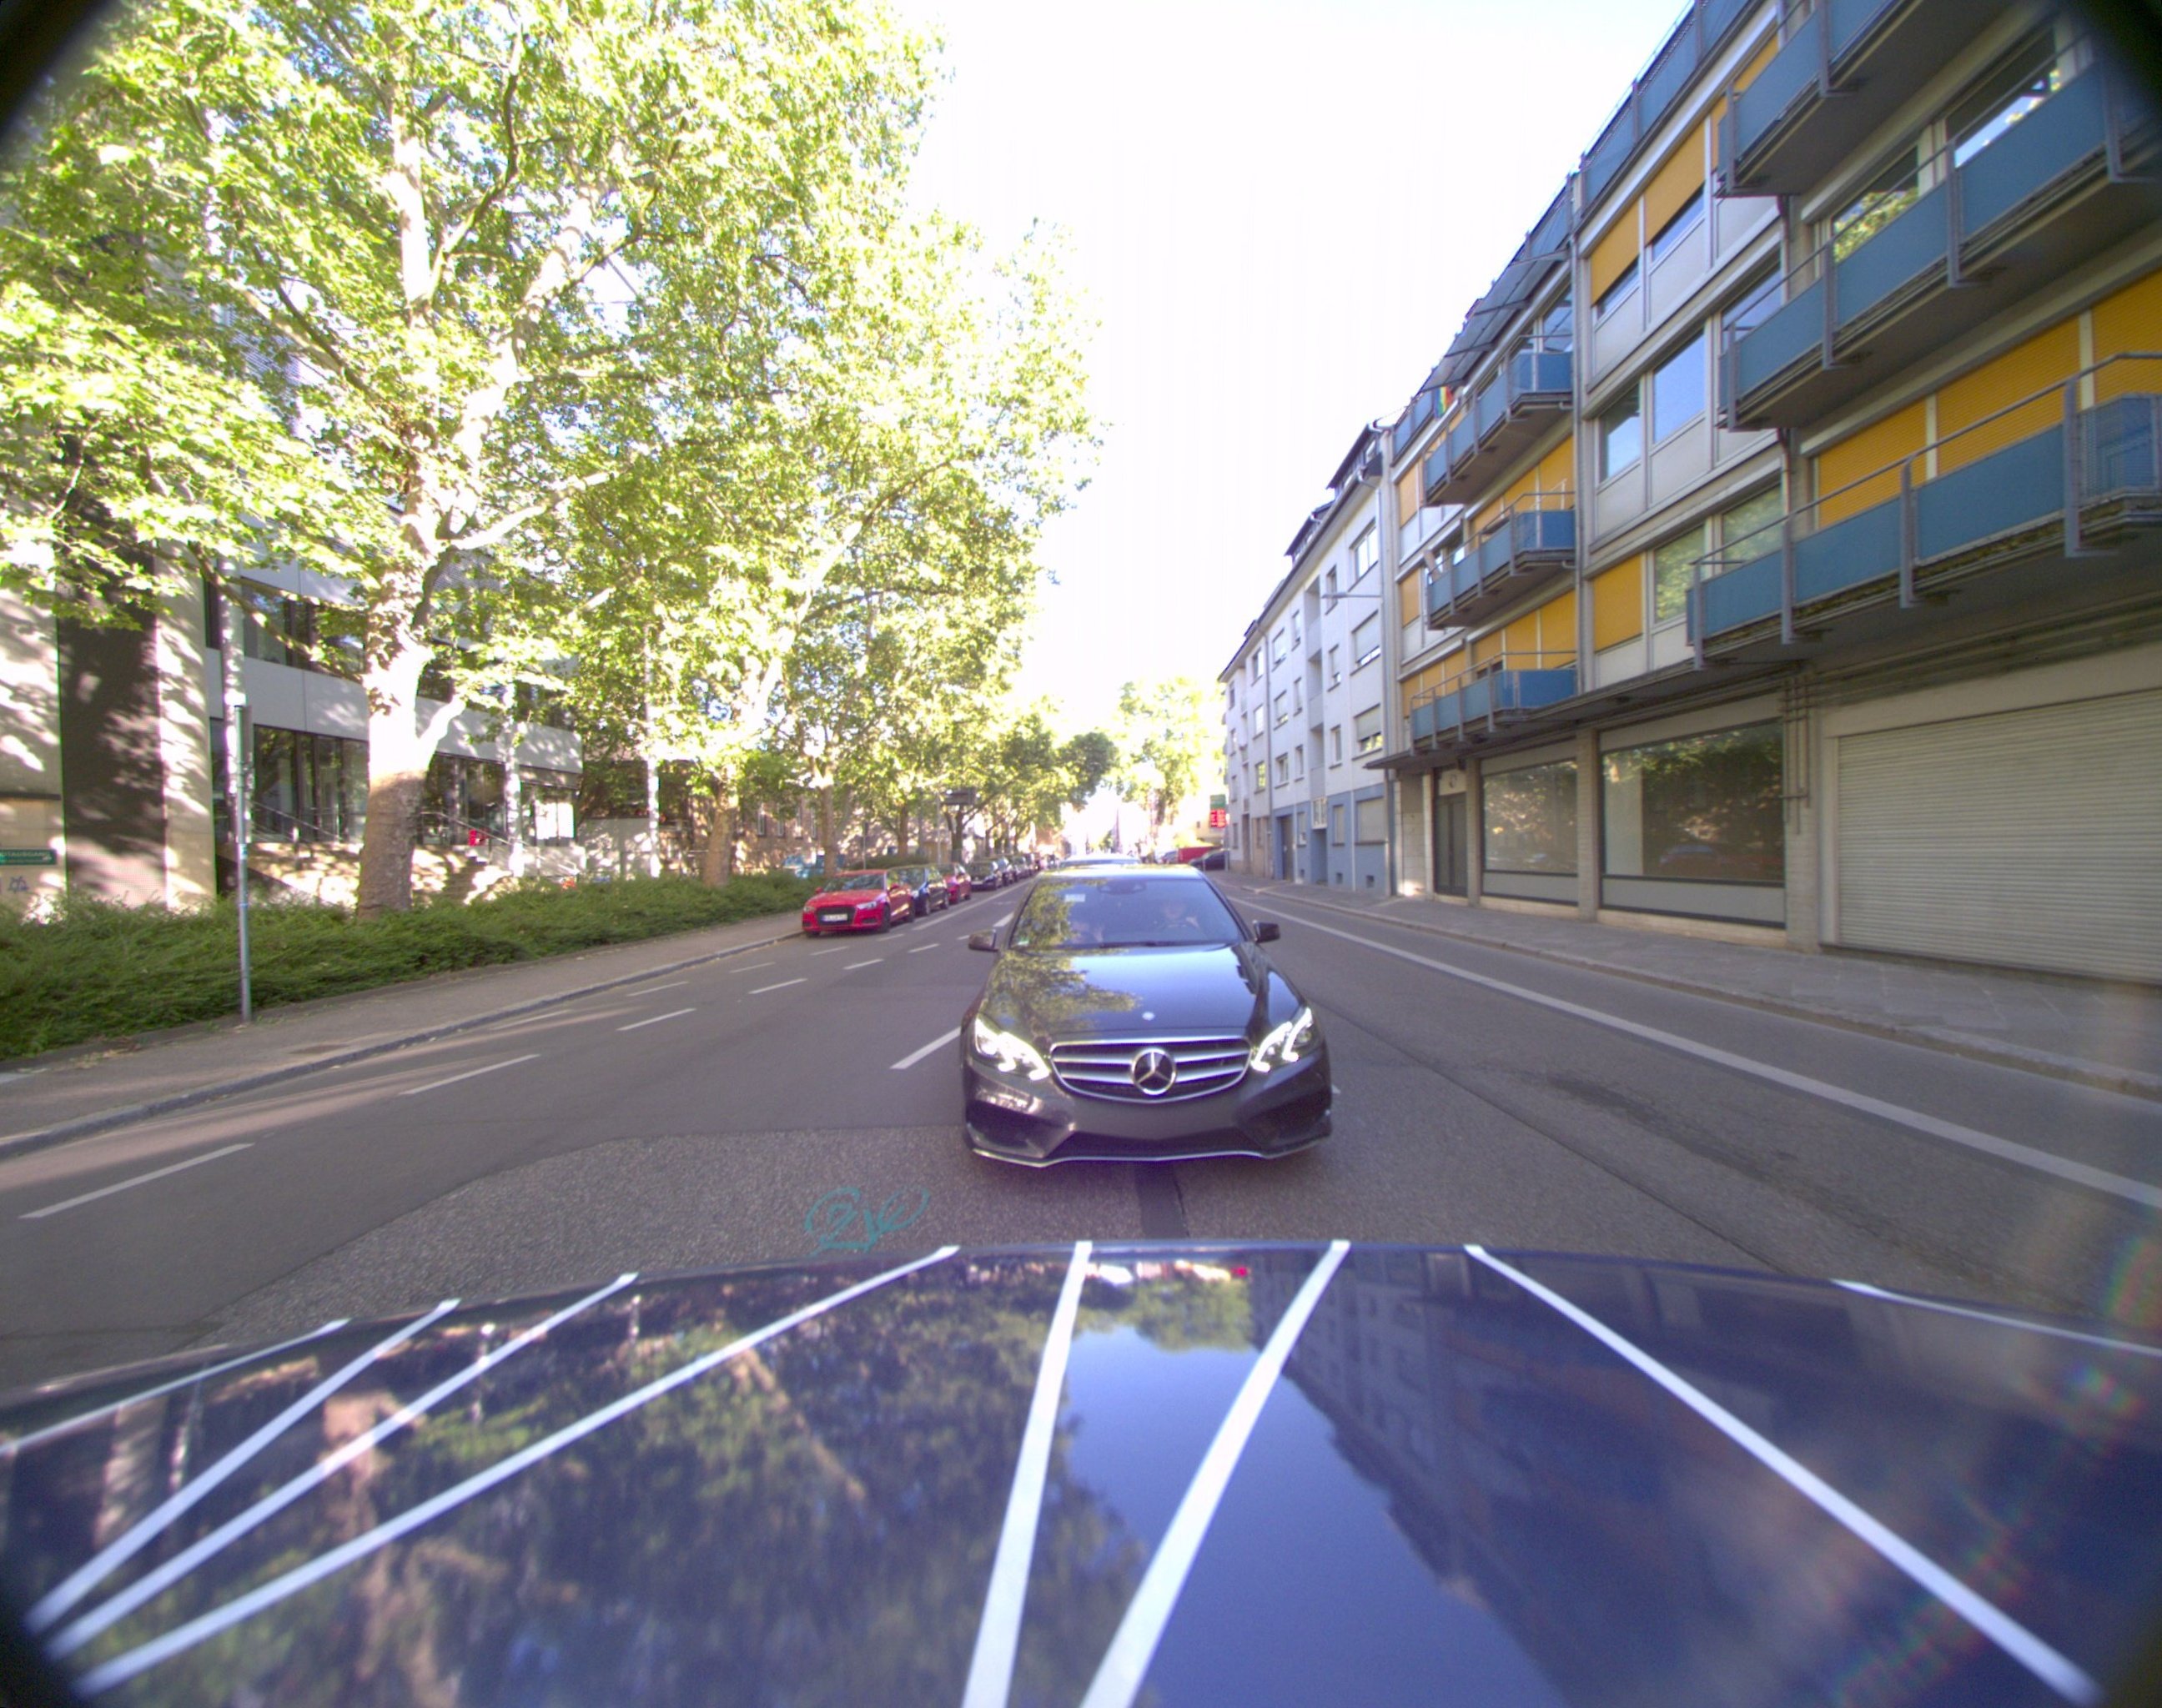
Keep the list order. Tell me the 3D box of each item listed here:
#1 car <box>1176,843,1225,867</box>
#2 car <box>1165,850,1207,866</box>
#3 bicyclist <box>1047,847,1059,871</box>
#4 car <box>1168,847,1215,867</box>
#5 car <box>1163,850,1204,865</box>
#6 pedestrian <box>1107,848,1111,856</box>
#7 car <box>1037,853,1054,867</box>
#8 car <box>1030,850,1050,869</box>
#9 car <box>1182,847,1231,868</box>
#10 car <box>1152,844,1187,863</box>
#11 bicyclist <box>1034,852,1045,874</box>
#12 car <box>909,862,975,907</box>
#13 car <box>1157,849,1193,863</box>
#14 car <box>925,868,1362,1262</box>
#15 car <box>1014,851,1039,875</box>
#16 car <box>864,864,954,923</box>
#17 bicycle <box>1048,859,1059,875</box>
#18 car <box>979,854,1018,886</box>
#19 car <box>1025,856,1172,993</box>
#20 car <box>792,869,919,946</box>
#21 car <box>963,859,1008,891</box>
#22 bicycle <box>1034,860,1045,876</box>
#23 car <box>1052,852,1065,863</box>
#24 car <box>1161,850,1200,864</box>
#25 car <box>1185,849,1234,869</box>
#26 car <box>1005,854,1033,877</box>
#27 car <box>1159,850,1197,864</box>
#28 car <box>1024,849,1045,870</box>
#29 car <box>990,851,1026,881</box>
[{"bbox_3d":[10.060,0.093,64.215,3.905,1.895,1.749,-2,1,2],"label":"car"},{"bbox_3d":[10.356,0.367,75.201,3.905,1.366,1.594,-2,1,2],"label":"car"},{"bbox_3d":[-1.986,0.358,54.060,0.756,1.714,0.768,-2,1,-1],"label":"bicyclist"},{"bbox_3d":[9.701,0.255,67.010,3.905,1.577,1.603,-2,1,2],"label":"car"},{"bbox_3d":[10.387,0.341,77.223,3.905,1.366,1.594,-2,1,2],"label":"car"},{"bbox_3d":[7.196,-0.473,192.988,0.884,2.108,0.821,-2,1,1],"label":"pedestrian"},{"bbox_3d":[-4.071,0.645,87.296,1.639,1.493,3.752,-2,0,0],"label":"car"},{"bbox_3d":[-4.114,0.547,76.251,1.686,1.749,3.836,-2,0,0],"label":"car"},{"bbox_3d":[10.115,0.288,61.371,3.668,1.501,1.602,-2,1,2],"label":"car"},{"bbox_3d":[10.382,-0.076,89.543,3.905,2.164,1.725,-2,1,2],"label":"car"},{"bbox_3d":[-2.965,0.661,54.386,0.756,1.512,0.768,-2,1,-1],"label":"bicyclist"},{"bbox_3d":[-5.017,1.060,27.838,1.666,1.426,3.781,-2,0,0],"label":"car"},{"bbox_3d":[10.523,0.237,85.051,3.782,1.432,1.539,-2,1,2],"label":"car"},{"bbox_3d":[0.265,0.951,5.416,1.828,1.495,4.293,-2,1,0],"label":"car"},{"bbox_3d":[-4.230,0.684,59.602,1.663,1.704,3.836,-2,0,0],"label":"car"},{"bbox_3d":[-5.019,1.101,22.653,1.686,1.458,4.000,-3,0,0],"label":"car"},{"bbox_3d":[-1.953,0.925,54.132,0.667,1.093,1.814,-2,1,0],"label":"bicycle"},{"bbox_3d":[-4.547,0.858,42.297,1.686,1.610,3.836,-2,0,0],"label":"car"},{"bbox_3d":[0.203,0.872,11.416,1.732,1.538,4.293,-2,1,0],"label":"car"},{"bbox_3d":[-5.137,1.167,17.894,1.724,1.412,4.030,-4,0,-1],"label":"car"},{"bbox_3d":[-4.675,1.003,37.638,1.686,1.443,4.000,-2,0,0],"label":"car"},{"bbox_3d":[-2.950,1.003,54.378,0.667,1.093,1.814,-2,1,0],"label":"bicycle"},{"bbox_3d":[-3.150,0.527,107.061,1.686,1.475,3.836,-2,0,0],"label":"car"},{"bbox_3d":[10.503,0.337,79.978,3.905,1.325,1.525,-2,1,2],"label":"car"},{"bbox_3d":[9.946,0.391,58.966,3.598,1.401,1.534,-2,0,2],"label":"car"},{"bbox_3d":[-4.438,0.811,54.746,1.686,1.553,3.868,-2,0,0],"label":"car"},{"bbox_3d":[10.512,0.308,82.366,3.905,1.325,1.525,-2,1,2],"label":"car"},{"bbox_3d":[-4.267,0.508,70.459,1.646,1.839,3.836,-2,0,0],"label":"car"},{"bbox_3d":[-4.606,0.715,48.423,1.819,1.758,4.431,-2,0,0],"label":"car"}]
